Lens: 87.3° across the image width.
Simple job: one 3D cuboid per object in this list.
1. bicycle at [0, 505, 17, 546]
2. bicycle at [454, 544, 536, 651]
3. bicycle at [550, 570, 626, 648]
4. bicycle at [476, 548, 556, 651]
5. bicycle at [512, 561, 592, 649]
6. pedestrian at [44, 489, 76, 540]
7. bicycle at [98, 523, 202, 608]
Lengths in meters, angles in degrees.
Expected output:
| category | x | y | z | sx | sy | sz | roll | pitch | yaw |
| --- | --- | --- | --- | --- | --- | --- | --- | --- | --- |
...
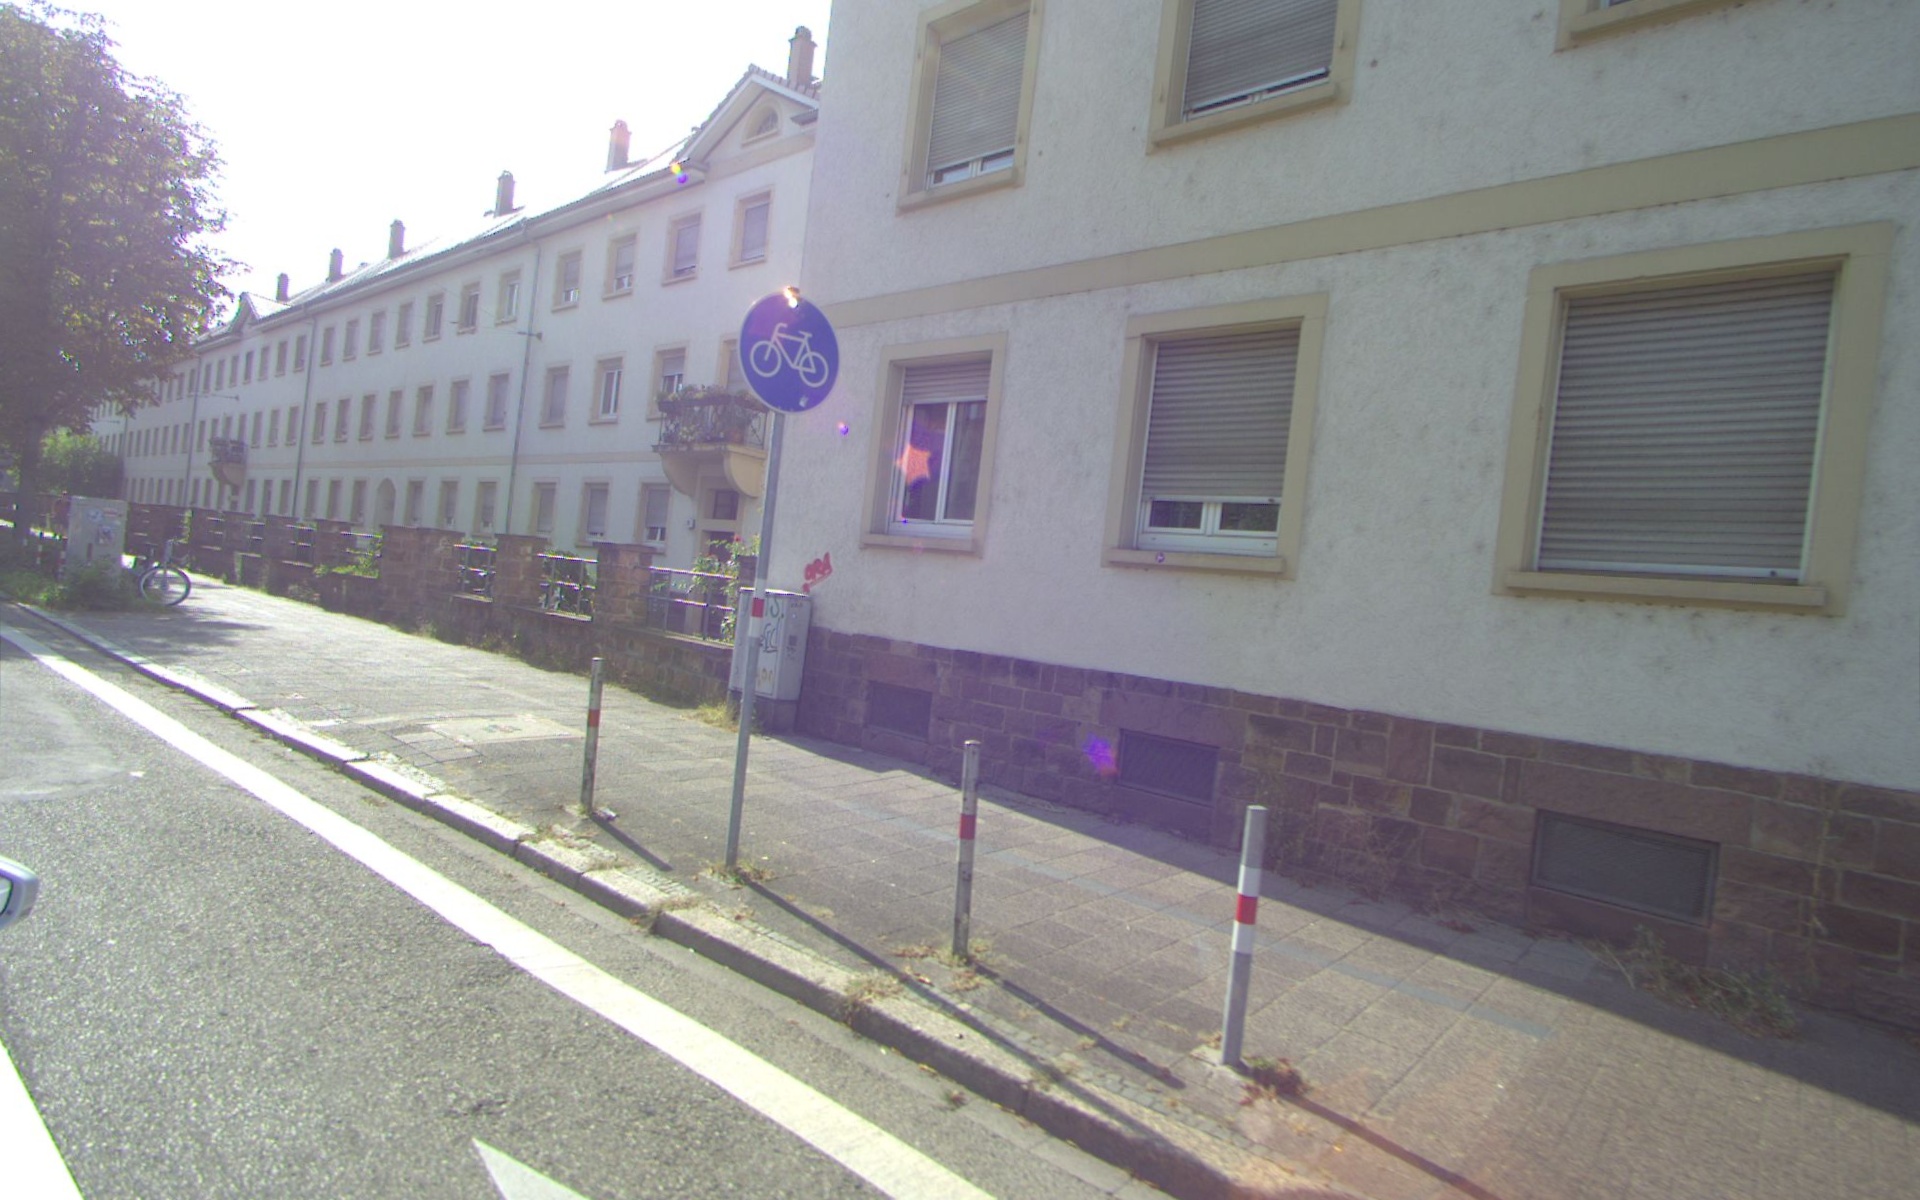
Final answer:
| category | x | y | z | sx | sy | sz | roll | pitch | yaw |
| --- | --- | --- | --- | --- | --- | --- | --- | --- | --- |
| bicycle | -26.158 | -2.065 | 26.784 | 0.516 | 1.086 | 1.727 | 7 | -1 | -7 |
| bicycle | -7.133 | -0.059 | 15.390 | 0.452 | 1.472 | 1.718 | 7 | -1 | -44 |
| bicycle | -6.337 | 0.121 | 17.077 | 0.519 | 1.139 | 2.006 | 7 | -1 | -38 |
| bicycle | -7.085 | -0.027 | 16.014 | 0.452 | 1.472 | 1.718 | 7 | -1 | -44 |
| bicycle | -6.513 | 0.053 | 16.011 | 0.452 | 1.230 | 1.718 | 7 | -1 | -44 |
| pedestrian | -33.511 | -3.172 | 37.472 | 0.749 | 1.770 | 0.868 | 6 | 0 | -42 |
| bicycle | -12.927 | -0.568 | 16.031 | 2.299 | 1.117 | 0.771 | 7 | 0 | 39 |
